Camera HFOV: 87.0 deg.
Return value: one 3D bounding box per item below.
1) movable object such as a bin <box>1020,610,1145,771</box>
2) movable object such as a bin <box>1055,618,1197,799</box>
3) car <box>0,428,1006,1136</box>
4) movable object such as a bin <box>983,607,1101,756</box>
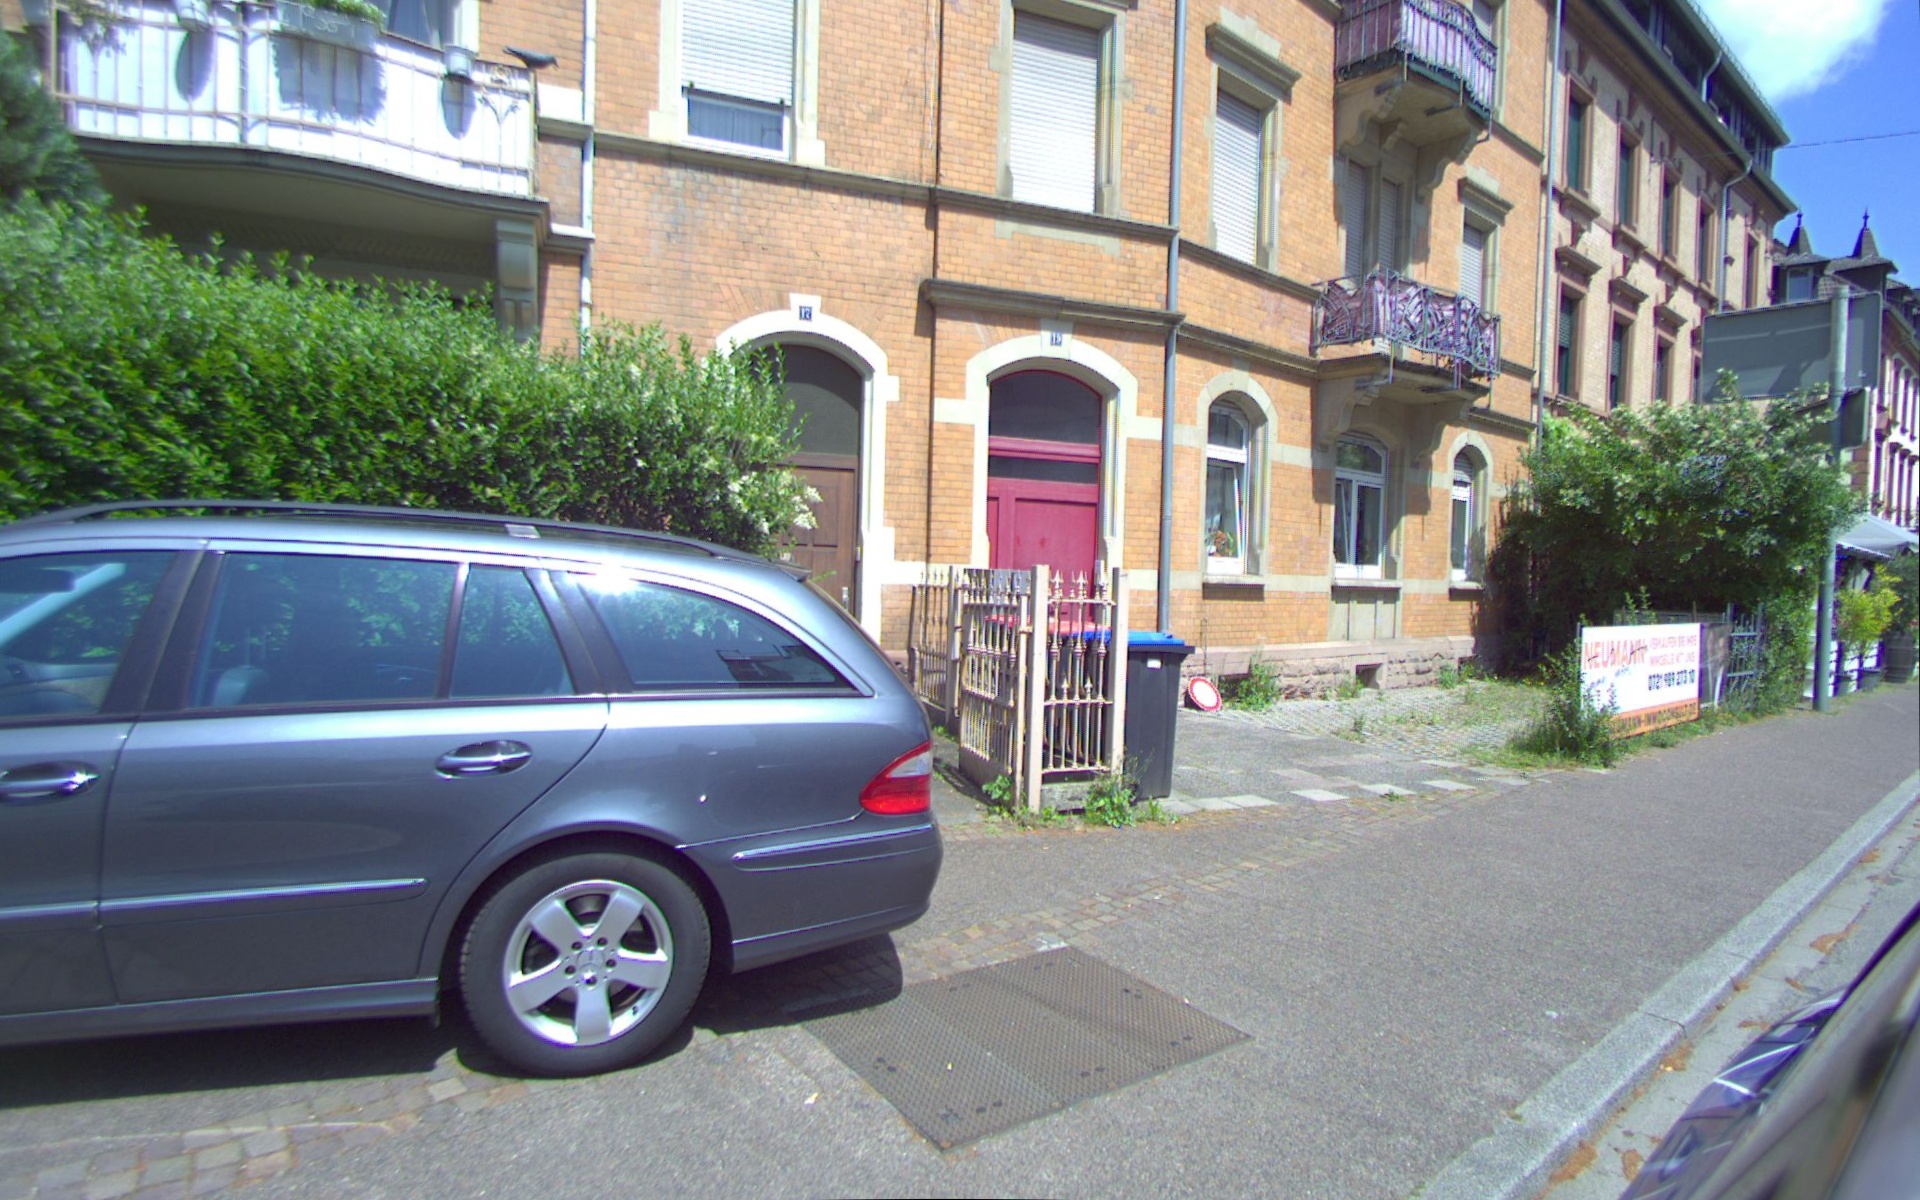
[{"bbox_3d":[0.888,0.627,7.365,0.691,1.085,0.554,1,1,-31],"label":"movable object such as a bin"},{"bbox_3d":[1.086,0.679,6.667,0.624,1.085,0.652,1,1,-30],"label":"movable object such as a bin"},{"bbox_3d":[-2.582,0.360,3.036,5.047,1.567,1.845,2,2,-20],"label":"car"},{"bbox_3d":[0.638,0.612,7.926,0.691,1.085,0.578,1,1,-31],"label":"movable object such as a bin"}]
